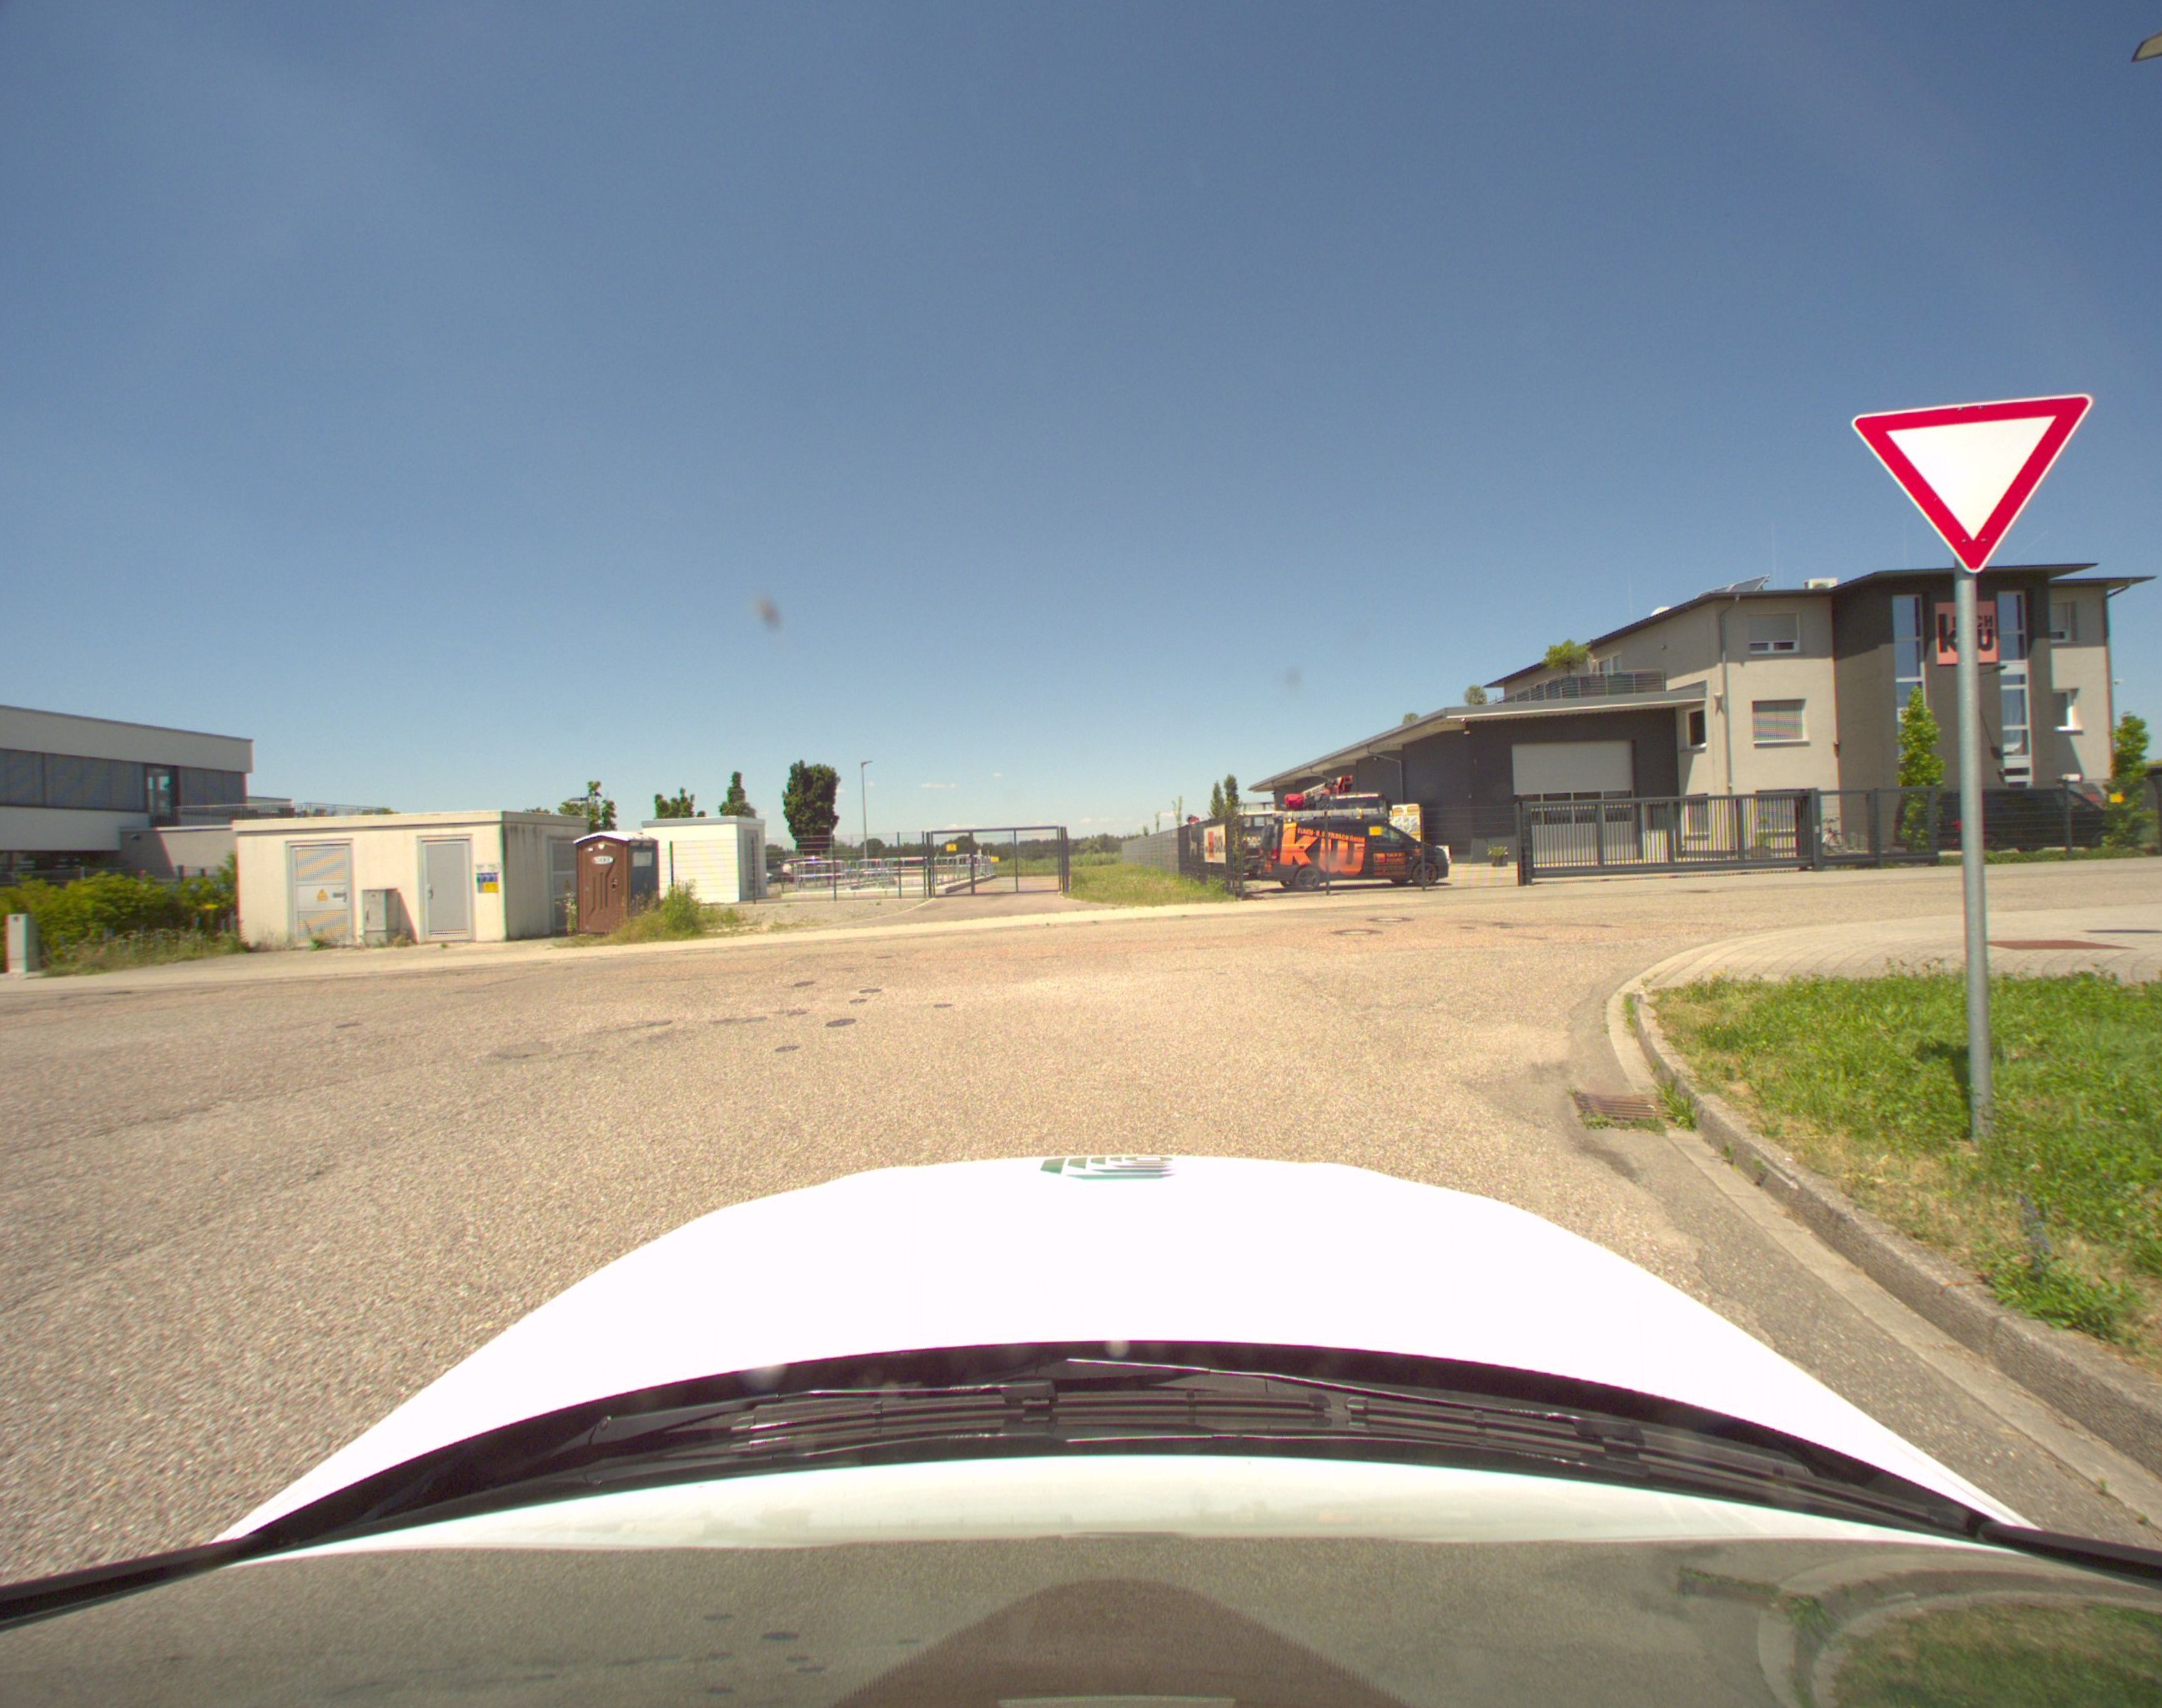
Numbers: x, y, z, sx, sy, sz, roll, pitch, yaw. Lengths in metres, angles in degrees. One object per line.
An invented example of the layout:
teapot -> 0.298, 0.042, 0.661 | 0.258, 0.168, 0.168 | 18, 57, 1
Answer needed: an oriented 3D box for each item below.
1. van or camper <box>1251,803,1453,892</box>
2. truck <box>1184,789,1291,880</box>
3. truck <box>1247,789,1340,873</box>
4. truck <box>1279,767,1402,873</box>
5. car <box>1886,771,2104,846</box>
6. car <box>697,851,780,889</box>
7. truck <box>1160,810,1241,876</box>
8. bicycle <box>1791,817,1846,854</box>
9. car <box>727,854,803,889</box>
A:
van or camper -> 7.416, -0.189, 22.658 | 4.921, 2.163, 2.000 | -3, 1, -1
truck -> 5.926, -0.693, 31.992 | 2.718, 3.061, 6.934 | -3, 0, 0
truck -> 10.898, -1.110, 42.567 | 2.912, 3.929, 6.934 | -2, 0, 0
truck -> 10.837, -1.317, 34.825 | 2.912, 3.929, 6.934 | -2, 0, 0
car -> 26.088, -1.252, 23.359 | 3.974, 1.867, 2.000 | -3, 0, 0
car -> -20.228, 0.943, 48.236 | 3.974, 2.013, 2.000 | -3, 0, 0
truck -> 5.823, -0.515, 40.901 | 2.912, 2.937, 6.934 | -3, 0, 0
bicycle -> 25.356, -0.651, 28.006 | 1.804, 1.185, 0.442 | -3, 0, -14
car -> -20.248, 1.131, 52.288 | 3.974, 2.013, 2.000 | -3, 0, 0
